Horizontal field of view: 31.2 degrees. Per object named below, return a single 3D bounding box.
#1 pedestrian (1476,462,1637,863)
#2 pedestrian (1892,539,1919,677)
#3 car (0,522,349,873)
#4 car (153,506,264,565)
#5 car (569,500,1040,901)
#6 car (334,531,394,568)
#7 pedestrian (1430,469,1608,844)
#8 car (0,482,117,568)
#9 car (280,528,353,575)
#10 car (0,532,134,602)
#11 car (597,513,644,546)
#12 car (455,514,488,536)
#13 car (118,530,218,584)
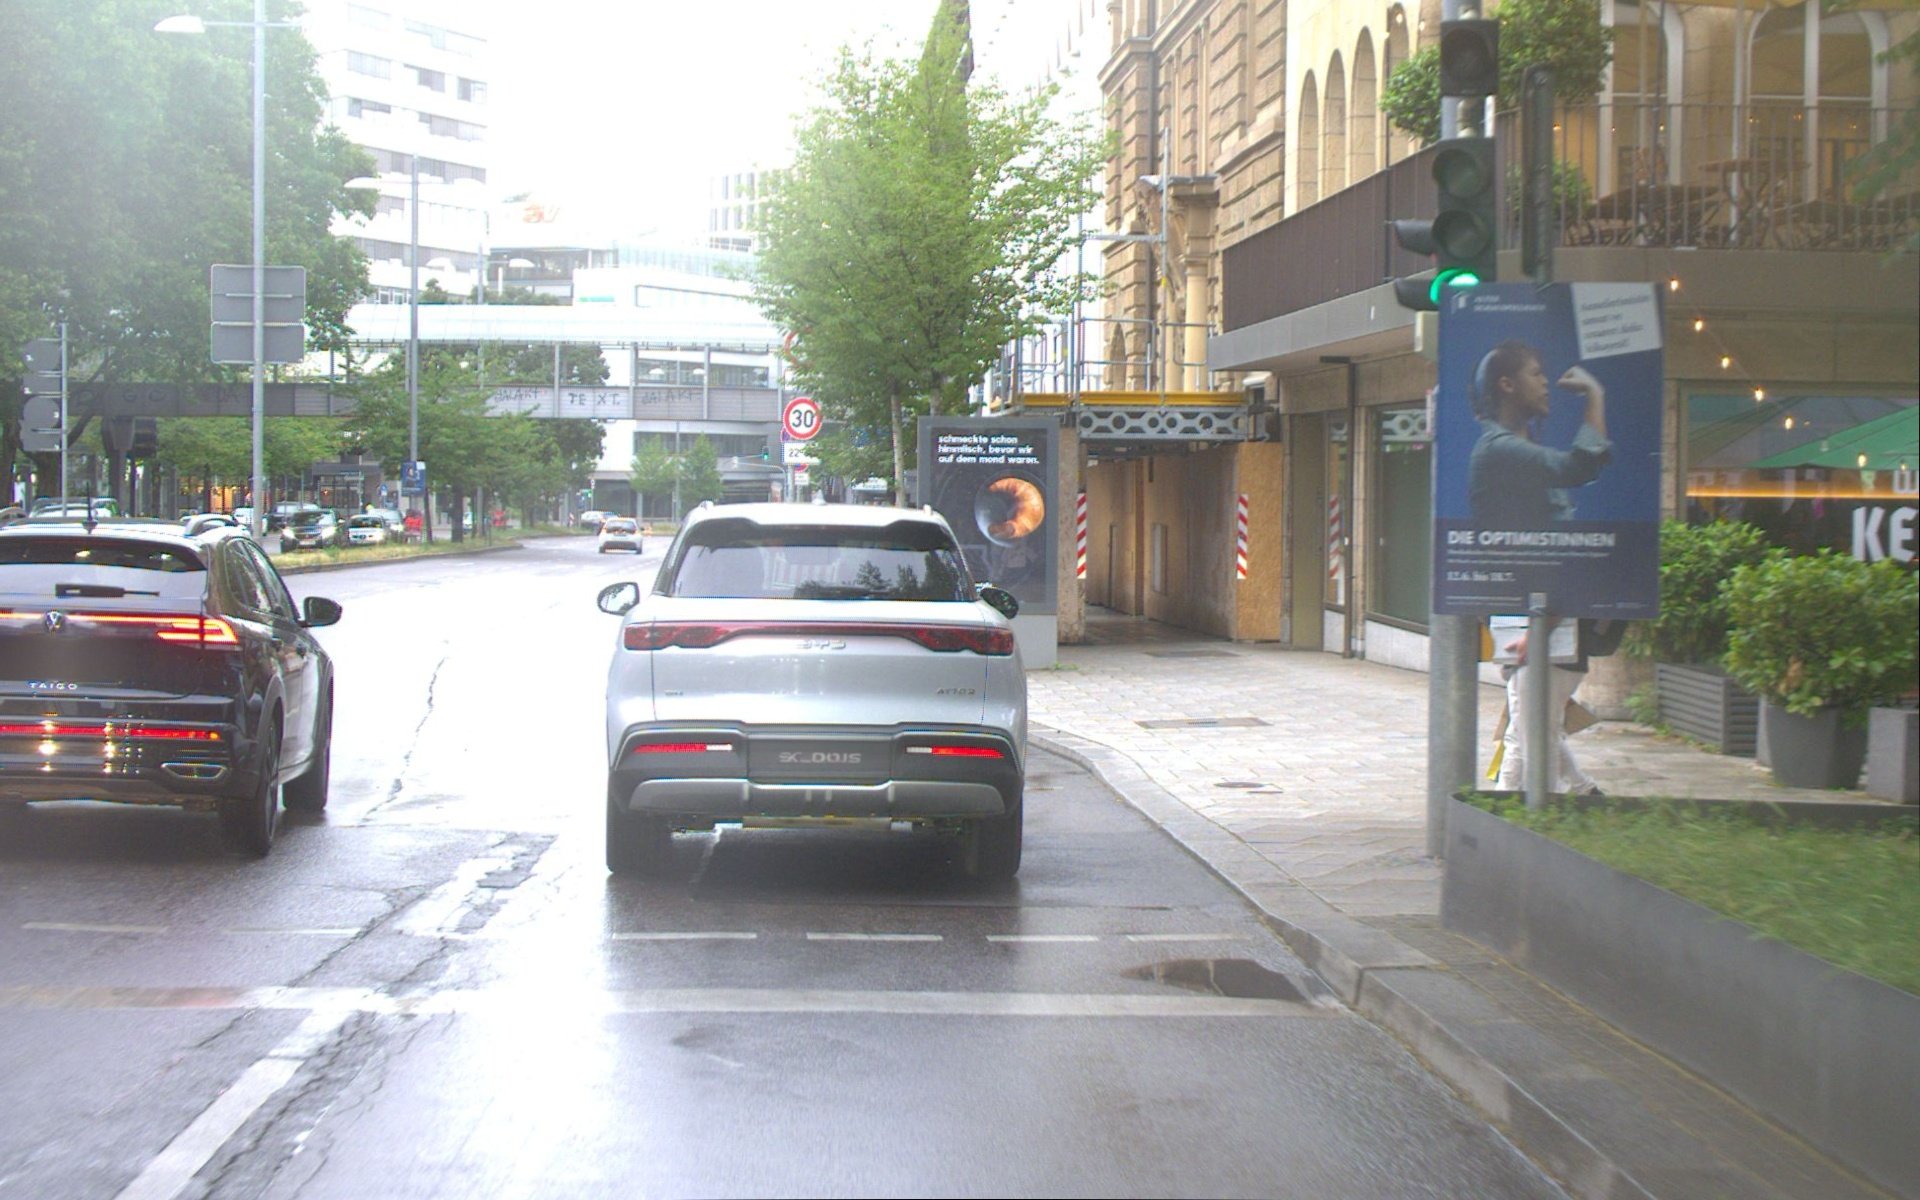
[{"bbox_3d":[2.776,0.284,16.030,0.632,1.828,0.563,1,0,1],"label":"pedestrian"},{"bbox_3d":[7.597,0.062,26.645,0.554,1.052,0.545,2,2,-1],"label":"pedestrian"},{"bbox_3d":[-4.028,0.382,16.322,1.774,1.452,4.001,1,1,-4],"label":"car"},{"bbox_3d":[-19.063,-1.611,87.334,1.860,1.437,4.313,1,1,0],"label":"car"},{"bbox_3d":[-0.764,0.394,16.029,1.901,1.616,4.001,1,1,-4],"label":"car"},{"bbox_3d":[-22.573,-1.914,130.275,1.596,1.355,4.117,1,1,-1],"label":"car"},{"bbox_3d":[2.787,0.273,17.163,0.589,1.828,0.629,1,0,-30],"label":"pedestrian"},{"bbox_3d":[-22.010,-1.799,83.401,1.831,1.995,5.104,1,1,0],"label":"car"},{"bbox_3d":[-20.721,-1.555,110.862,1.700,1.432,4.583,1,1,-3],"label":"car"},{"bbox_3d":[-18.215,-0.666,69.911,1.747,1.360,3.943,1,1,2],"label":"car"},{"bbox_3d":[-14.131,-2.948,143.291,1.653,1.337,4.001,1,1,-2],"label":"car"},{"bbox_3d":[-31.143,-4.780,219.259,1.596,1.355,4.117,1,1,-1],"label":"car"},{"bbox_3d":[-21.907,-1.181,95.202,1.727,1.427,4.395,1,1,0],"label":"car"}]
